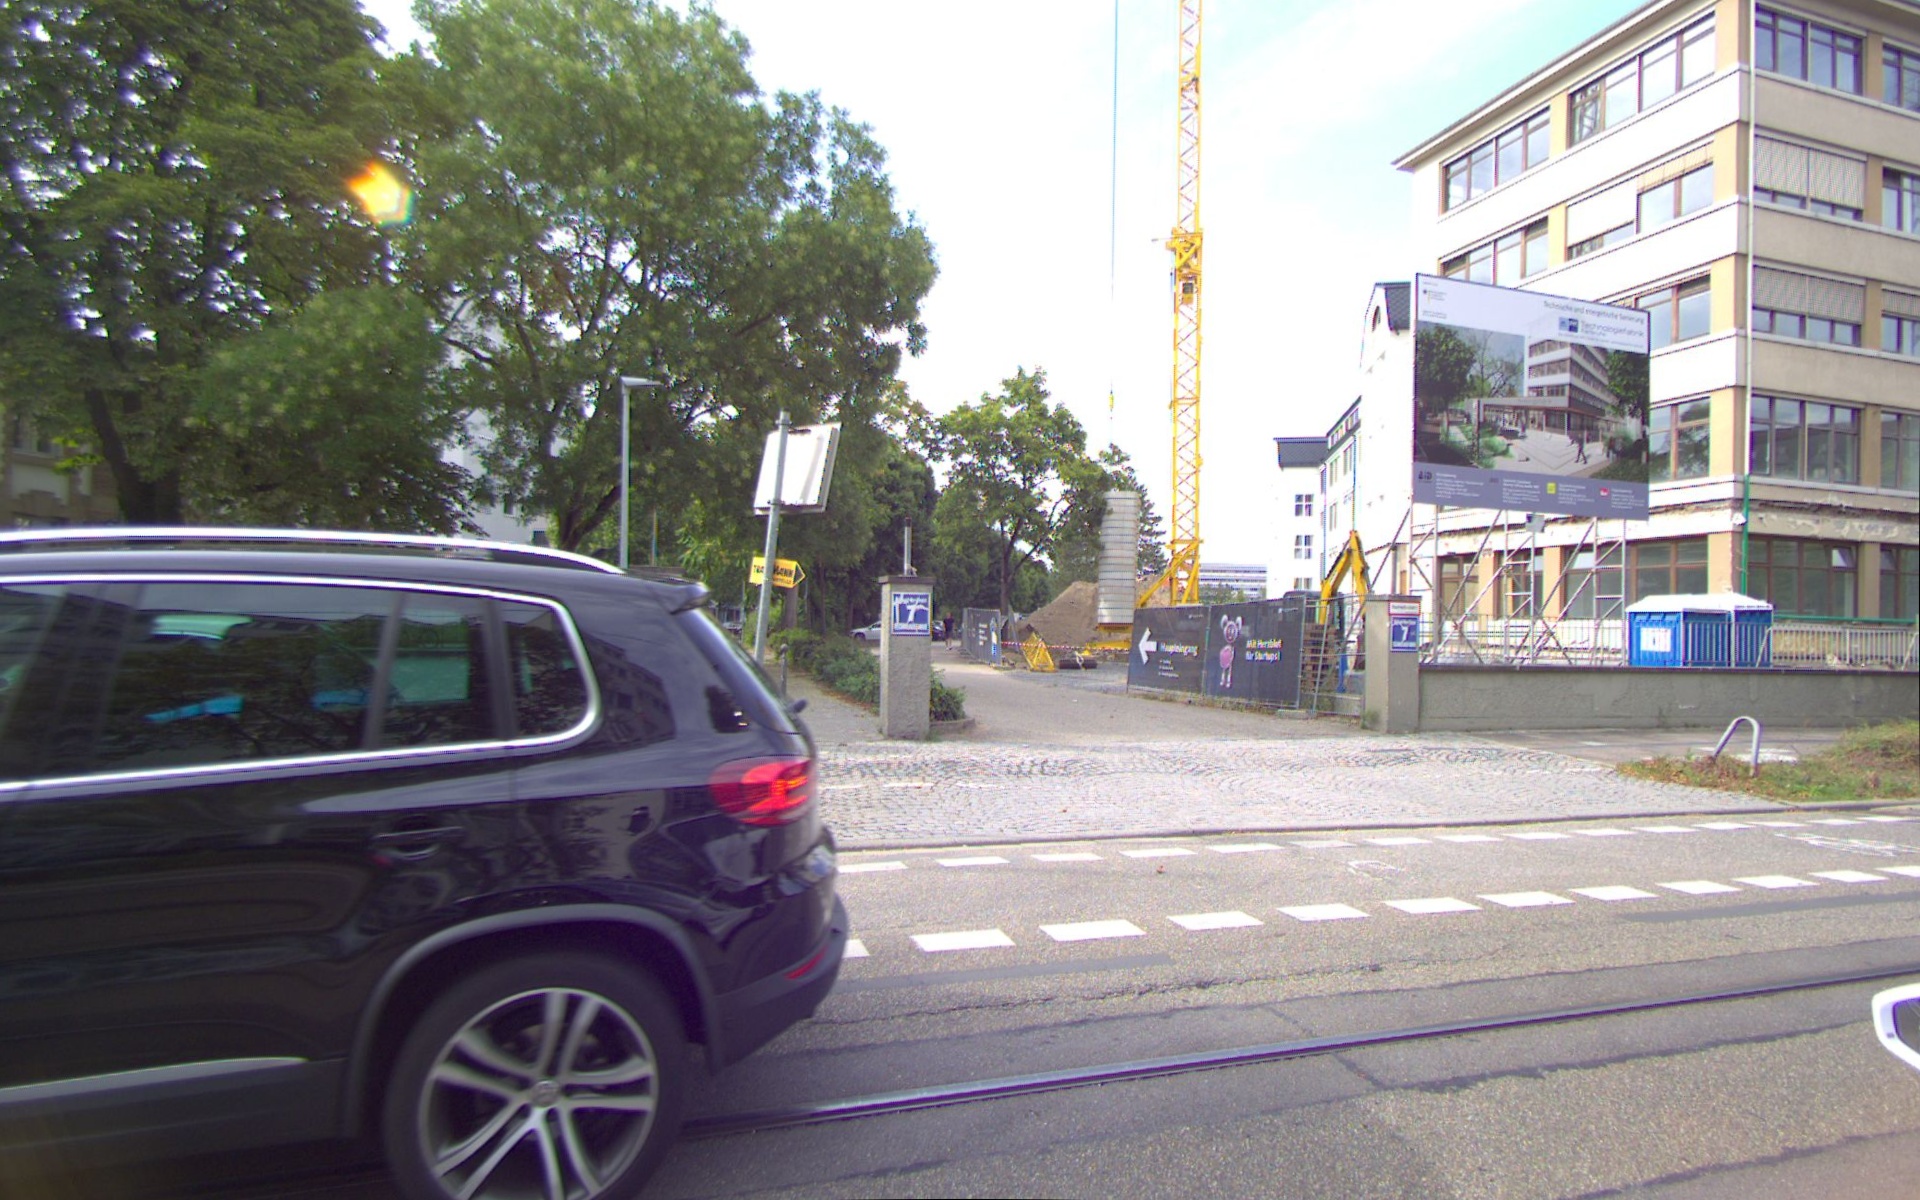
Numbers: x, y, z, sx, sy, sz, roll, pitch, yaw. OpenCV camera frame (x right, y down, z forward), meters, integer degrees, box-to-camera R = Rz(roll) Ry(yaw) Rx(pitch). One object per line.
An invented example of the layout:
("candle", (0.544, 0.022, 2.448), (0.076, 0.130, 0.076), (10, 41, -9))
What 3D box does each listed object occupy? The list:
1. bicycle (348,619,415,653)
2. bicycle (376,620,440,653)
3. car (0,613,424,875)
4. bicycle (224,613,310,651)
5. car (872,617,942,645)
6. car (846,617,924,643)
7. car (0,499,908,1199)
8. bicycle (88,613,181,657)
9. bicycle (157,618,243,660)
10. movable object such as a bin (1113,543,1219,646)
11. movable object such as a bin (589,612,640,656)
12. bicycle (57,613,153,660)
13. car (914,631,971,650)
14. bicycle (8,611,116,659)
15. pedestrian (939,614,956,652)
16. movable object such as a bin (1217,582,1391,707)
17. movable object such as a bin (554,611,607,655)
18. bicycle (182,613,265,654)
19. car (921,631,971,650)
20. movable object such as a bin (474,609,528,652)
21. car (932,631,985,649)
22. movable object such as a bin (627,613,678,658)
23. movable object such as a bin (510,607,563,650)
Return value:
("bicycle", (-19.252, 1.185, 33.449), (1.938, 1.057, 0.595), (1, -1, 7))
("bicycle", (-19.113, 1.252, 34.802), (1.938, 1.057, 0.595), (1, -1, 7))
("car", (-5.651, 0.844, 6.542), (3.546, 1.484, 1.626), (2, -1, -19))
("bicycle", (-20.293, 0.948, 29.441), (1.946, 1.057, 0.592), (2, -1, -17))
("car", (-4.015, 2.338, 76.198), (4.959, 1.979, 2.001), (1, -1, 8))
("car", (-4.822, 1.944, 64.842), (4.711, 1.508, 2.001), (2, -1, 4))
("car", (-2.450, 0.645, 2.776), (4.309, 1.650, 1.731), (2, -2, -18))
("bicycle", (-20.677, 0.869, 25.166), (1.938, 1.057, 0.595), (1, -1, 7))
("bicycle", (-20.300, 1.033, 26.824), (1.938, 1.057, 0.595), (1, -1, 7))
("movable object such as a bin", (14.876, -0.191, 71.598), (3.789, 6.757, 10.966), (1, -1, 31))
("movable object such as a bin", (-11.914, 1.180, 34.669), (1.258, 1.449, 1.123), (1, -1, 9))
("bicycle", (-20.743, 0.878, 24.383), (1.938, 1.057, 0.595), (1, -1, 7))
("car", (-1.480, 3.448, 85.975), (4.711, 1.508, 2.001), (2, -1, 4))
("bicycle", (-20.978, 0.804, 23.489), (1.939, 1.057, 0.594), (2, -1, 0))
("pedestrian", (-0.614, 1.585, 48.772), (0.735, 1.813, 0.731), (2, -1, 4))
("movable object such as a bin", (7.408, 0.953, 21.974), (2.452, 2.475, 3.057), (2, -1, -8))
("movable object such as a bin", (-13.212, 1.146, 35.004), (1.258, 1.449, 1.123), (1, -1, 9))
("bicycle", (-20.236, 0.905, 27.611), (1.938, 1.057, 0.595), (1, -1, 7))
("car", (-1.218, 3.542, 88.641), (4.261, 1.563, 1.754), (2, -1, 4))
("movable object such as a bin", (-16.138, 1.061, 35.325), (1.258, 1.449, 1.123), (1, -1, 9))
("car", (-0.128, 3.627, 91.811), (4.711, 1.508, 2.001), (2, -1, 4))
("movable object such as a bin", (-10.458, 1.205, 34.208), (1.258, 1.449, 1.123), (1, -1, 9))
("movable object such as a bin", (-14.791, 1.008, 35.121), (1.258, 1.449, 1.123), (1, -1, 9))
